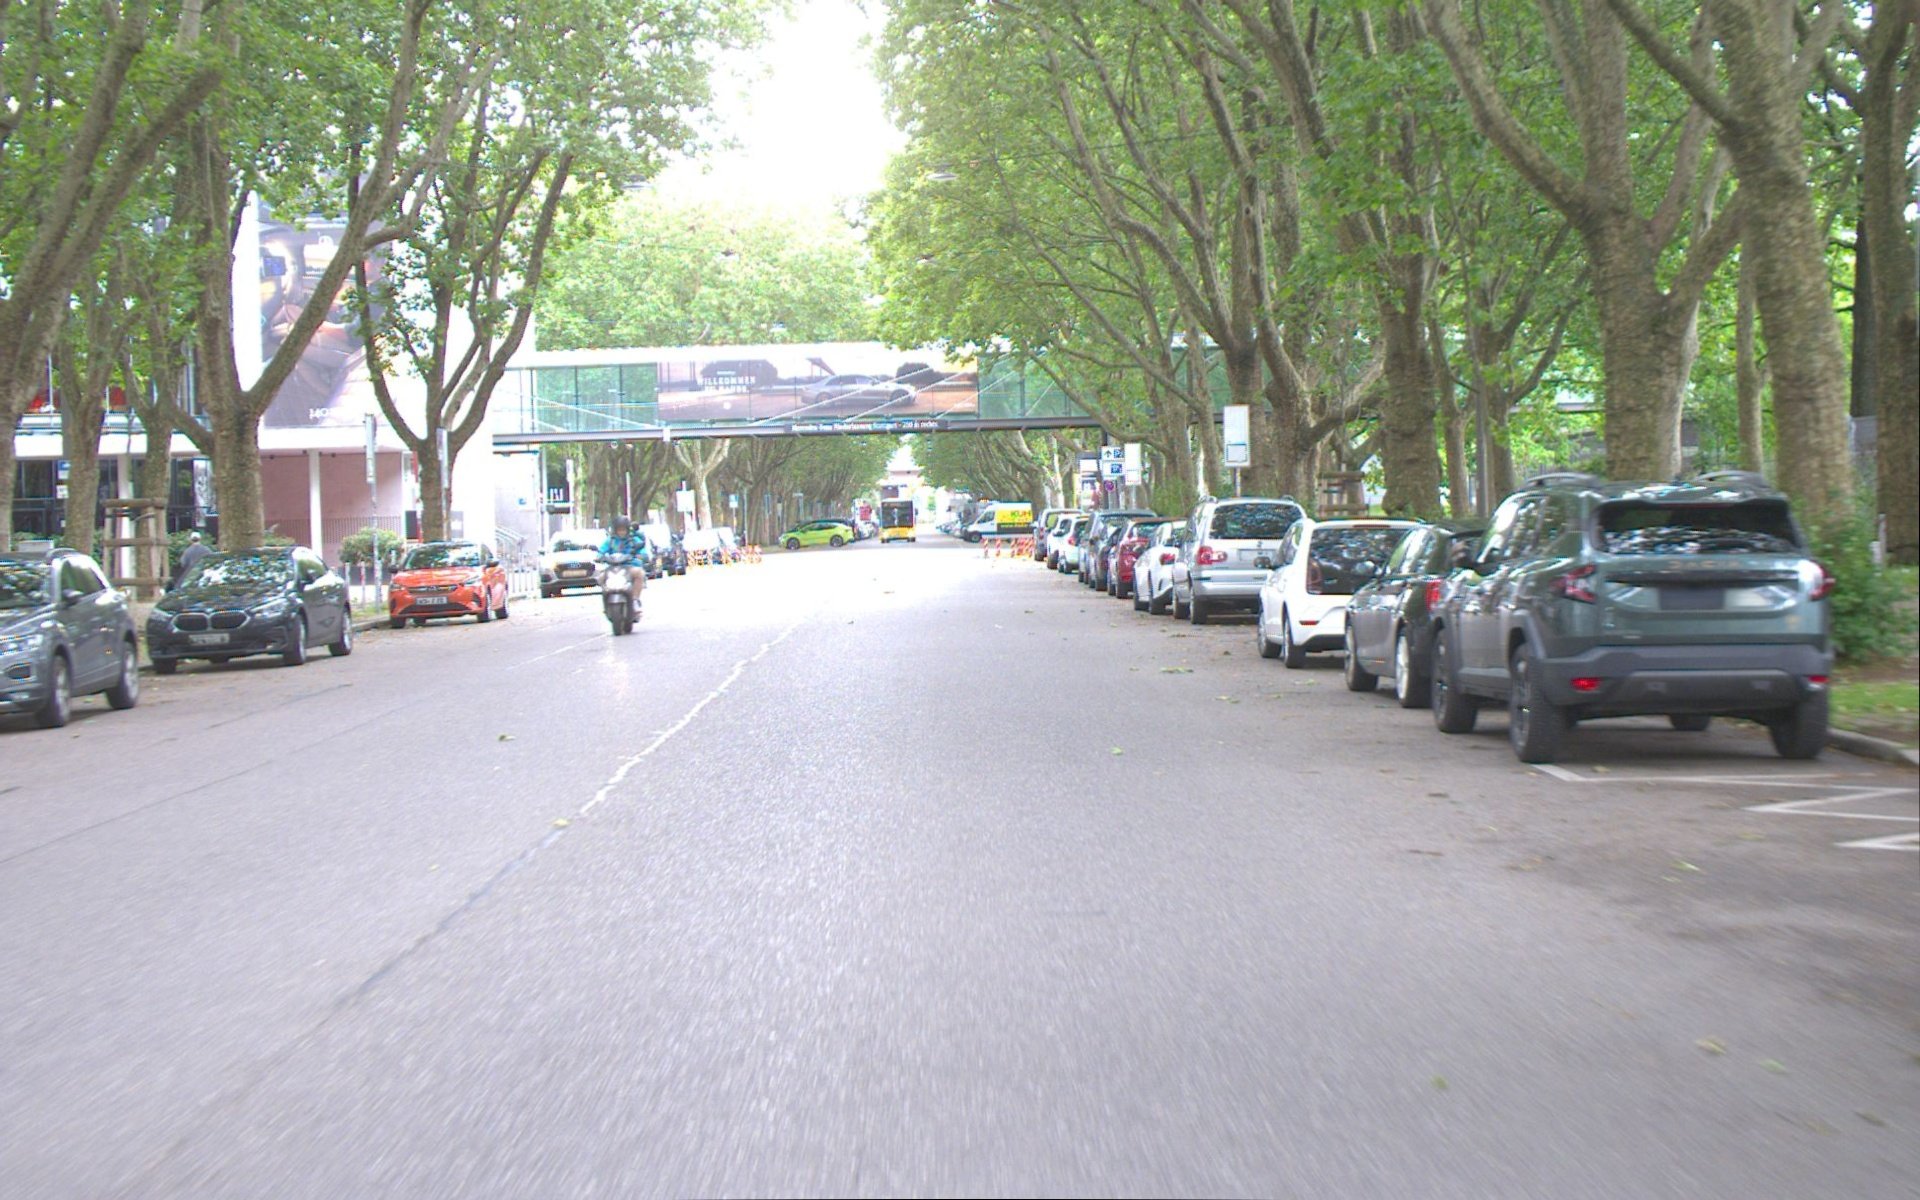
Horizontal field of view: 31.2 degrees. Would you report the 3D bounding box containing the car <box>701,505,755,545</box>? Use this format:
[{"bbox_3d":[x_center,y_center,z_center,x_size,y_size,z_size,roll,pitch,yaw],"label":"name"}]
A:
[{"bbox_3d":[-10.200,-3.318,151.217,1.993,1.579,4.113,-4,1,0],"label":"car"}]

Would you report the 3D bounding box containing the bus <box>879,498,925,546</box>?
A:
[{"bbox_3d":[-4.184,-5.554,246.426,3.038,3.149,12.678,-3,1,-1],"label":"bus"}]

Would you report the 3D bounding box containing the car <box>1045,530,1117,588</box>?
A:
[{"bbox_3d":[3.528,-1.219,100.997,1.914,1.612,4.749,-1,1,0],"label":"car"}]

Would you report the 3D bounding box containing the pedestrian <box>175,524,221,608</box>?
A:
[{"bbox_3d":[-14.856,-0.668,67.016,0.592,1.614,0.791,-1,1,9],"label":"pedestrian"}]

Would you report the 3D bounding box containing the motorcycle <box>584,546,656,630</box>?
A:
[{"bbox_3d":[-4.676,-0.185,47.454,0.873,1.075,3.053,-1,1,-4],"label":"motorcycle"}]

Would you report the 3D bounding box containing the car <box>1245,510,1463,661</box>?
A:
[{"bbox_3d":[3.881,-0.187,34.414,1.707,1.422,3.889,0,1,0],"label":"car"}]

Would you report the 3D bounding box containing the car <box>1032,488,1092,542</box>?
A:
[{"bbox_3d":[3.456,-2.897,117.413,1.847,1.776,5.211,0,1,0],"label":"car"}]

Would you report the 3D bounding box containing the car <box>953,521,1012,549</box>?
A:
[{"bbox_3d":[1.529,-4.447,235.171,3.987,1.787,1.543,-1,1,-1],"label":"car"}]

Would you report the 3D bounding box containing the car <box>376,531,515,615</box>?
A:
[{"bbox_3d":[-8.954,-0.495,60.143,1.808,1.349,4.000,-1,2,0],"label":"car"}]

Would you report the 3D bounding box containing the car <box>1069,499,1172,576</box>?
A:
[{"bbox_3d":[3.632,-1.426,78.493,1.981,1.674,4.732,-1,1,-1],"label":"car"}]

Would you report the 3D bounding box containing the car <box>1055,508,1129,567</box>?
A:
[{"bbox_3d":[3.556,-1.699,93.132,1.807,1.521,4.096,-1,1,0],"label":"car"}]

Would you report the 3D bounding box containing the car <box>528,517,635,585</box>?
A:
[{"bbox_3d":[-9.255,-1.226,84.410,2.073,1.557,4.756,-1,2,0],"label":"car"}]

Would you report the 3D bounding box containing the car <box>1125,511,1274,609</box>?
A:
[{"bbox_3d":[3.678,-0.647,53.554,1.877,1.422,4.586,-1,1,-1],"label":"car"}]

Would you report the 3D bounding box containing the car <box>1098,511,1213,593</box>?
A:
[{"bbox_3d":[3.662,-0.926,64.927,1.856,1.476,4.178,-1,1,-1],"label":"car"}]

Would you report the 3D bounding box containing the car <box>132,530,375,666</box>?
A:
[{"bbox_3d":[-8.557,-0.069,42.036,1.827,1.460,4.627,-3,1,2],"label":"car"}]

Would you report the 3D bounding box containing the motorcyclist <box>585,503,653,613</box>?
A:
[{"bbox_3d":[-4.696,-0.586,47.413,0.870,1.475,1.265,-1,1,-4],"label":"motorcyclist"}]

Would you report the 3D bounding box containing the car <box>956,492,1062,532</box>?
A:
[{"bbox_3d":[3.240,-5.839,227.689,6.823,2.505,2.317,-2,1,-2],"label":"car"}]

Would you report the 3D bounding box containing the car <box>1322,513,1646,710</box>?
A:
[{"bbox_3d":[4.070,0.029,27.344,1.707,1.410,4.362,-1,2,-3],"label":"car"}]

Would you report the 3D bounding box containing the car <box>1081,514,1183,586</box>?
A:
[{"bbox_3d":[3.552,-1.068,71.599,1.877,1.422,4.480,-1,1,0],"label":"car"}]

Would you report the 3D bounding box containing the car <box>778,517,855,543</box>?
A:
[{"bbox_3d":[-9.079,-4.430,217.654,4.700,1.579,1.864,-1,1,1],"label":"car"}]

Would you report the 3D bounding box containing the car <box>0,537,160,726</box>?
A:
[{"bbox_3d":[-8.590,0.260,30.676,1.878,1.521,4.151,-2,2,0],"label":"car"}]

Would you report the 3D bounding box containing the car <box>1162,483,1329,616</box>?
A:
[{"bbox_3d":[3.942,-0.732,48.103,1.903,1.733,4.507,-1,1,0],"label":"car"}]

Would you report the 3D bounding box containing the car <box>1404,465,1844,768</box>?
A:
[{"bbox_3d":[4.016,0.036,21.571,1.707,1.692,4.631,0,1,-2],"label":"car"}]

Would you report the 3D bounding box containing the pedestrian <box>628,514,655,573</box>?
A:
[{"bbox_3d":[-7.921,-1.414,85.517,0.584,1.461,0.567,0,1,3],"label":"pedestrian"}]
